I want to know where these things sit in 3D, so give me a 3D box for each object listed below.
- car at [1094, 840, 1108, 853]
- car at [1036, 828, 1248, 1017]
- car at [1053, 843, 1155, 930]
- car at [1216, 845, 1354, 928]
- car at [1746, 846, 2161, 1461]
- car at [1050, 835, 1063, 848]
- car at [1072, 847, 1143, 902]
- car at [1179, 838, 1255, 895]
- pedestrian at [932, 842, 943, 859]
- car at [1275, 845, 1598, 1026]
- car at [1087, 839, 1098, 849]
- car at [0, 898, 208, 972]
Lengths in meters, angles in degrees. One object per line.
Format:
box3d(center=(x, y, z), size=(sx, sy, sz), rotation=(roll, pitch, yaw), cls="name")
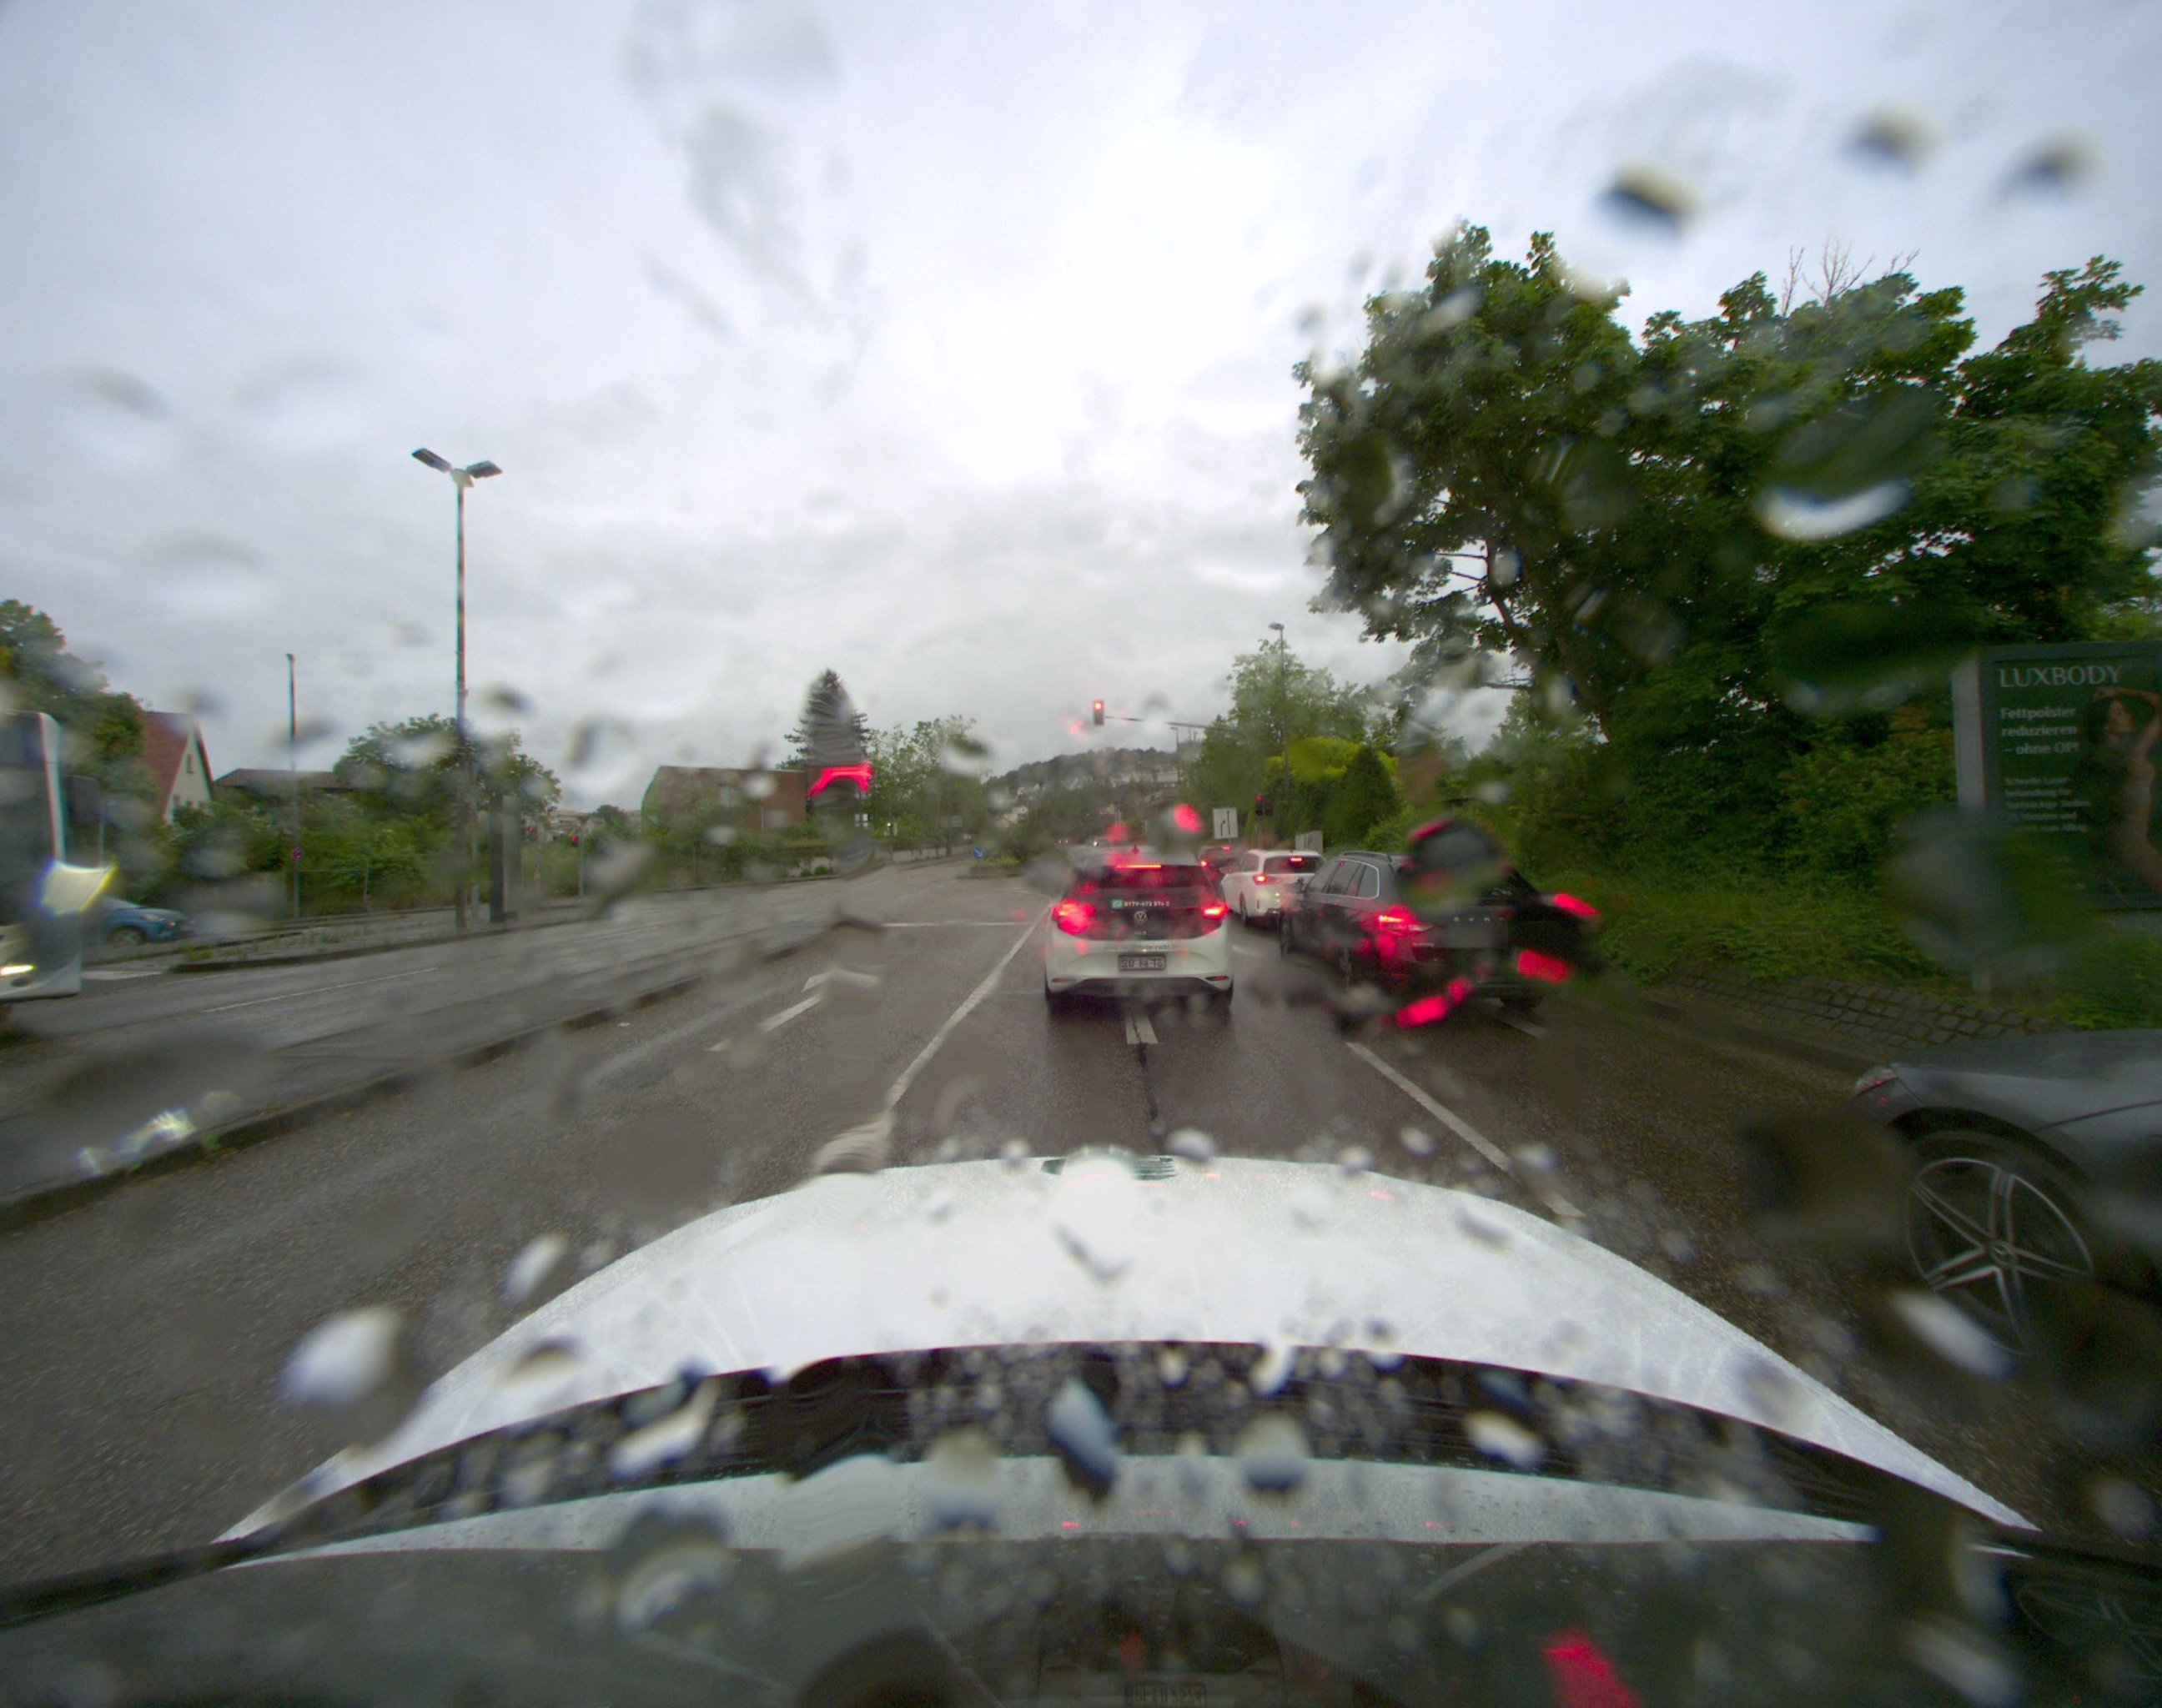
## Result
box3d(center=(2.705, -0.964, 107.847), size=(1.769, 1.581, 4.002), rotation=(-3, 0, 2), cls="car")
box3d(center=(0.579, 0.565, 9.348), size=(1.831, 1.629, 4.617), rotation=(0, 1, 1), cls="car")
box3d(center=(0.464, 0.550, 16.657), size=(1.831, 1.554, 4.176), rotation=(0, 1, 1), cls="car")
box3d(center=(3.908, 0.546, 16.336), size=(1.831, 1.466, 4.118), rotation=(0, 1, 1), cls="car")
box3d(center=(3.466, 0.730, 0.781), size=(1.831, 1.466, 4.810), rotation=(0, 1, 1), cls="car")
box3d(center=(-4.294, -2.174, 141.959), size=(1.986, 2.014, 4.002), rotation=(-1, -1, 2), cls="car")
box3d(center=(0.737, 0.509, 22.988), size=(1.831, 1.400, 3.832), rotation=(0, 1, 1), cls="car")
box3d(center=(4.029, 0.334, 24.617), size=(1.769, 1.581, 4.002), rotation=(0, 0, 2), cls="car")
box3d(center=(-13.020, -0.313, 73.836), size=(0.757, 1.568, 0.825), rotation=(-4, 0, 1), cls="pedestrian")
box3d(center=(3.409, 0.634, 8.823), size=(1.830, 1.466, 4.353), rotation=(0, 1, 3), cls="car")
box3d(center=(1.916, -1.636, 137.327), size=(1.769, 1.581, 4.002), rotation=(-3, 0, 2), cls="car")
box3d(center=(-24.501, 1.971, 19.996), size=(3.759, 1.418, 1.750), rotation=(-3, 1, -29), cls="car")
